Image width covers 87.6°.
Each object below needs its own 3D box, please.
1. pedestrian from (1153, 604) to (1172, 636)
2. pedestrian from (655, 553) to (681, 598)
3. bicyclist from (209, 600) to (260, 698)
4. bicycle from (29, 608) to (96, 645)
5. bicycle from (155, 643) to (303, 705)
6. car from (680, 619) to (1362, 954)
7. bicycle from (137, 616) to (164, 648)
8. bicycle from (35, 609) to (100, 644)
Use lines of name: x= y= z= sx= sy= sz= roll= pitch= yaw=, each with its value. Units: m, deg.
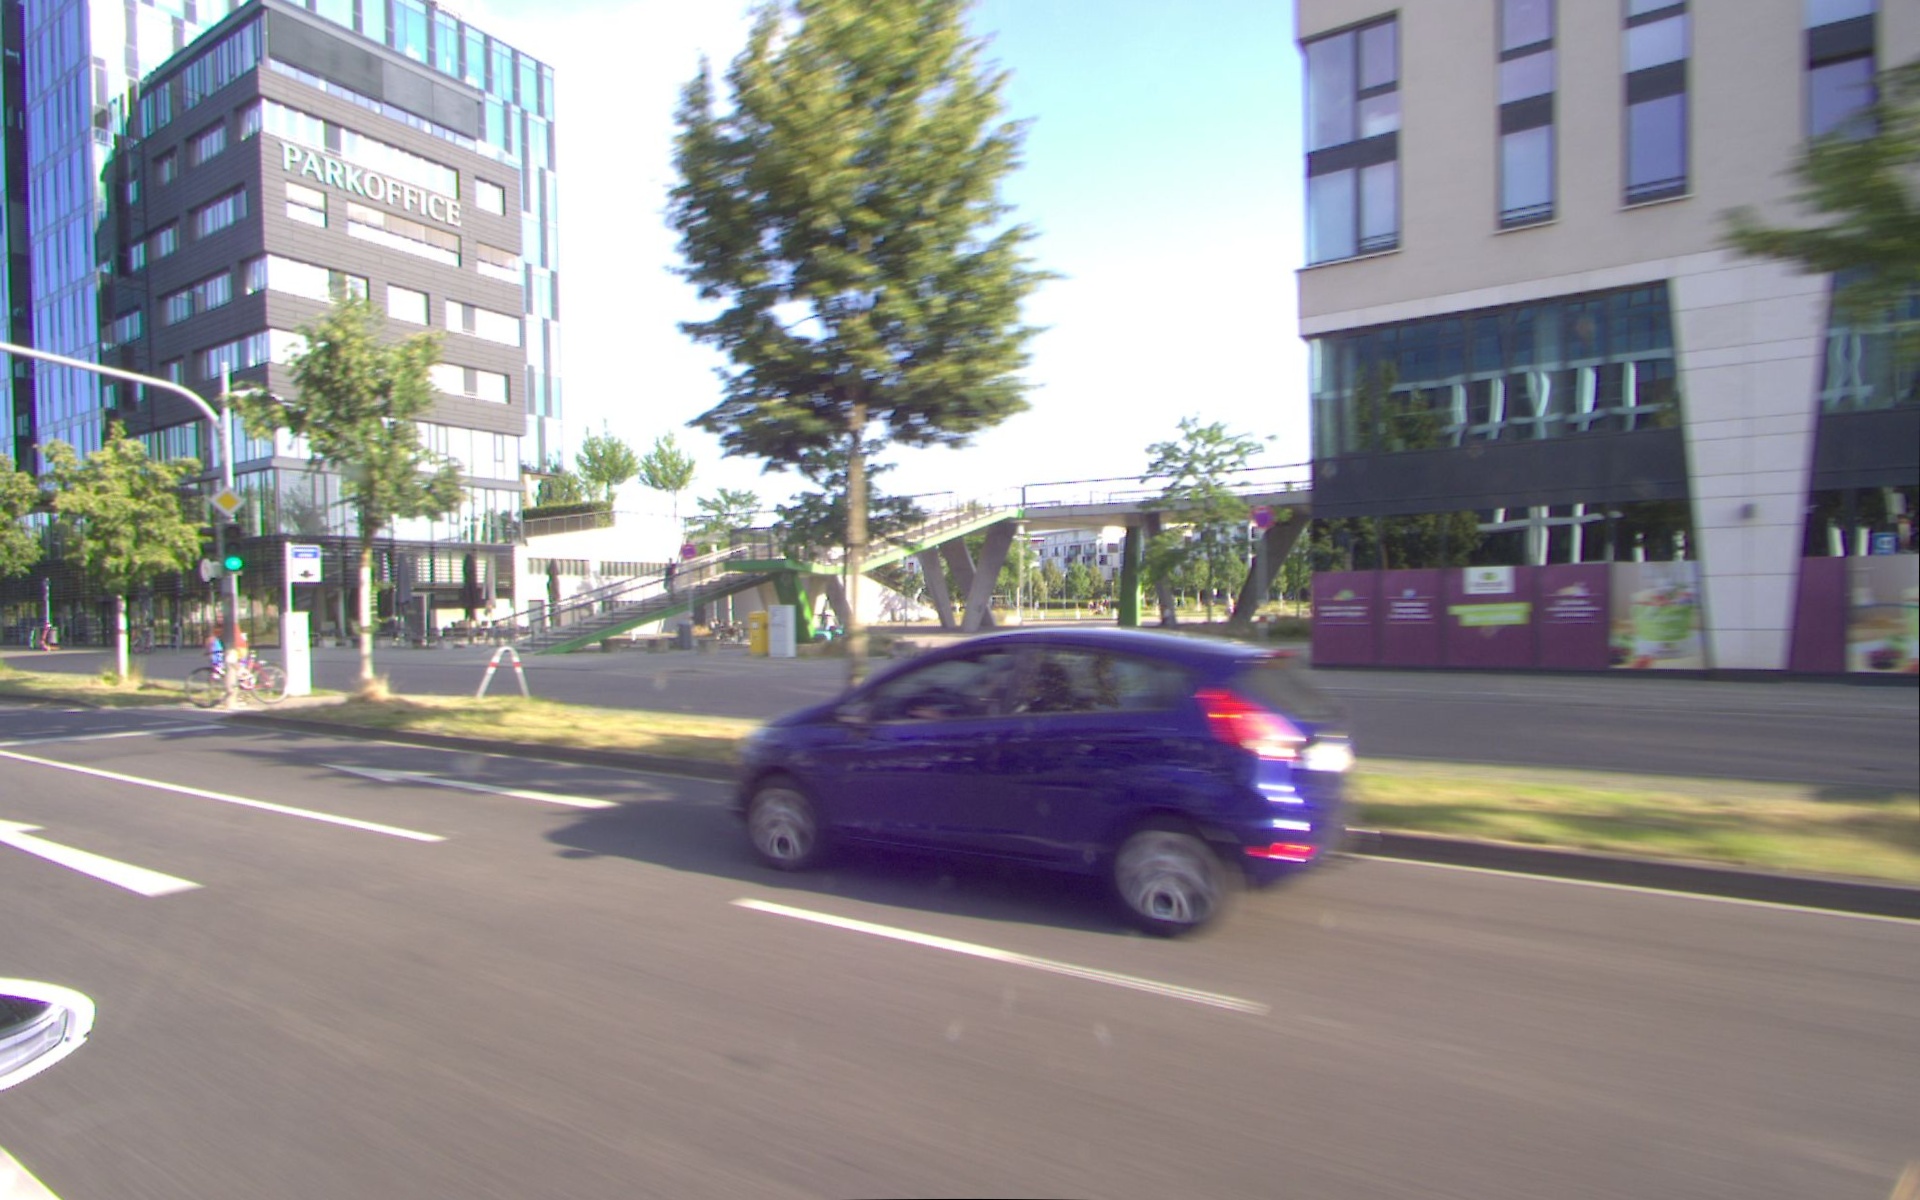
pedestrian: x=8.437 y=0.836 z=41.710 sx=0.573 sy=1.310 sz=0.595 roll=-1 pitch=-1 yaw=32
pedestrian: x=-11.379 y=-0.941 z=39.043 sx=0.689 sy=1.713 sz=0.779 roll=1 pitch=-2 yaw=-45
bicyclist: x=-13.096 y=0.878 z=18.079 sx=0.533 sy=1.728 sz=0.574 roll=-1 pitch=-1 yaw=30
bicycle: x=-46.950 y=1.396 z=52.404 sx=0.563 sy=1.881 sz=2.552 roll=-1 pitch=-2 yaw=41
bicycle: x=-13.108 y=1.297 z=18.036 sx=0.563 sy=1.025 sz=2.133 roll=-1 pitch=-2 yaw=28
car: x=0.243 y=0.850 z=6.040 sx=3.852 sy=1.442 sz=1.557 roll=0 pitch=-1 yaw=33
bicycle: x=-35.633 y=1.427 z=44.057 sx=1.868 sy=1.363 sz=0.372 roll=-2 pitch=-2 yaw=33
bicycle: x=-46.057 y=1.386 z=51.702 sx=0.548 sy=1.768 sz=2.423 roll=-1 pitch=-2 yaw=41
